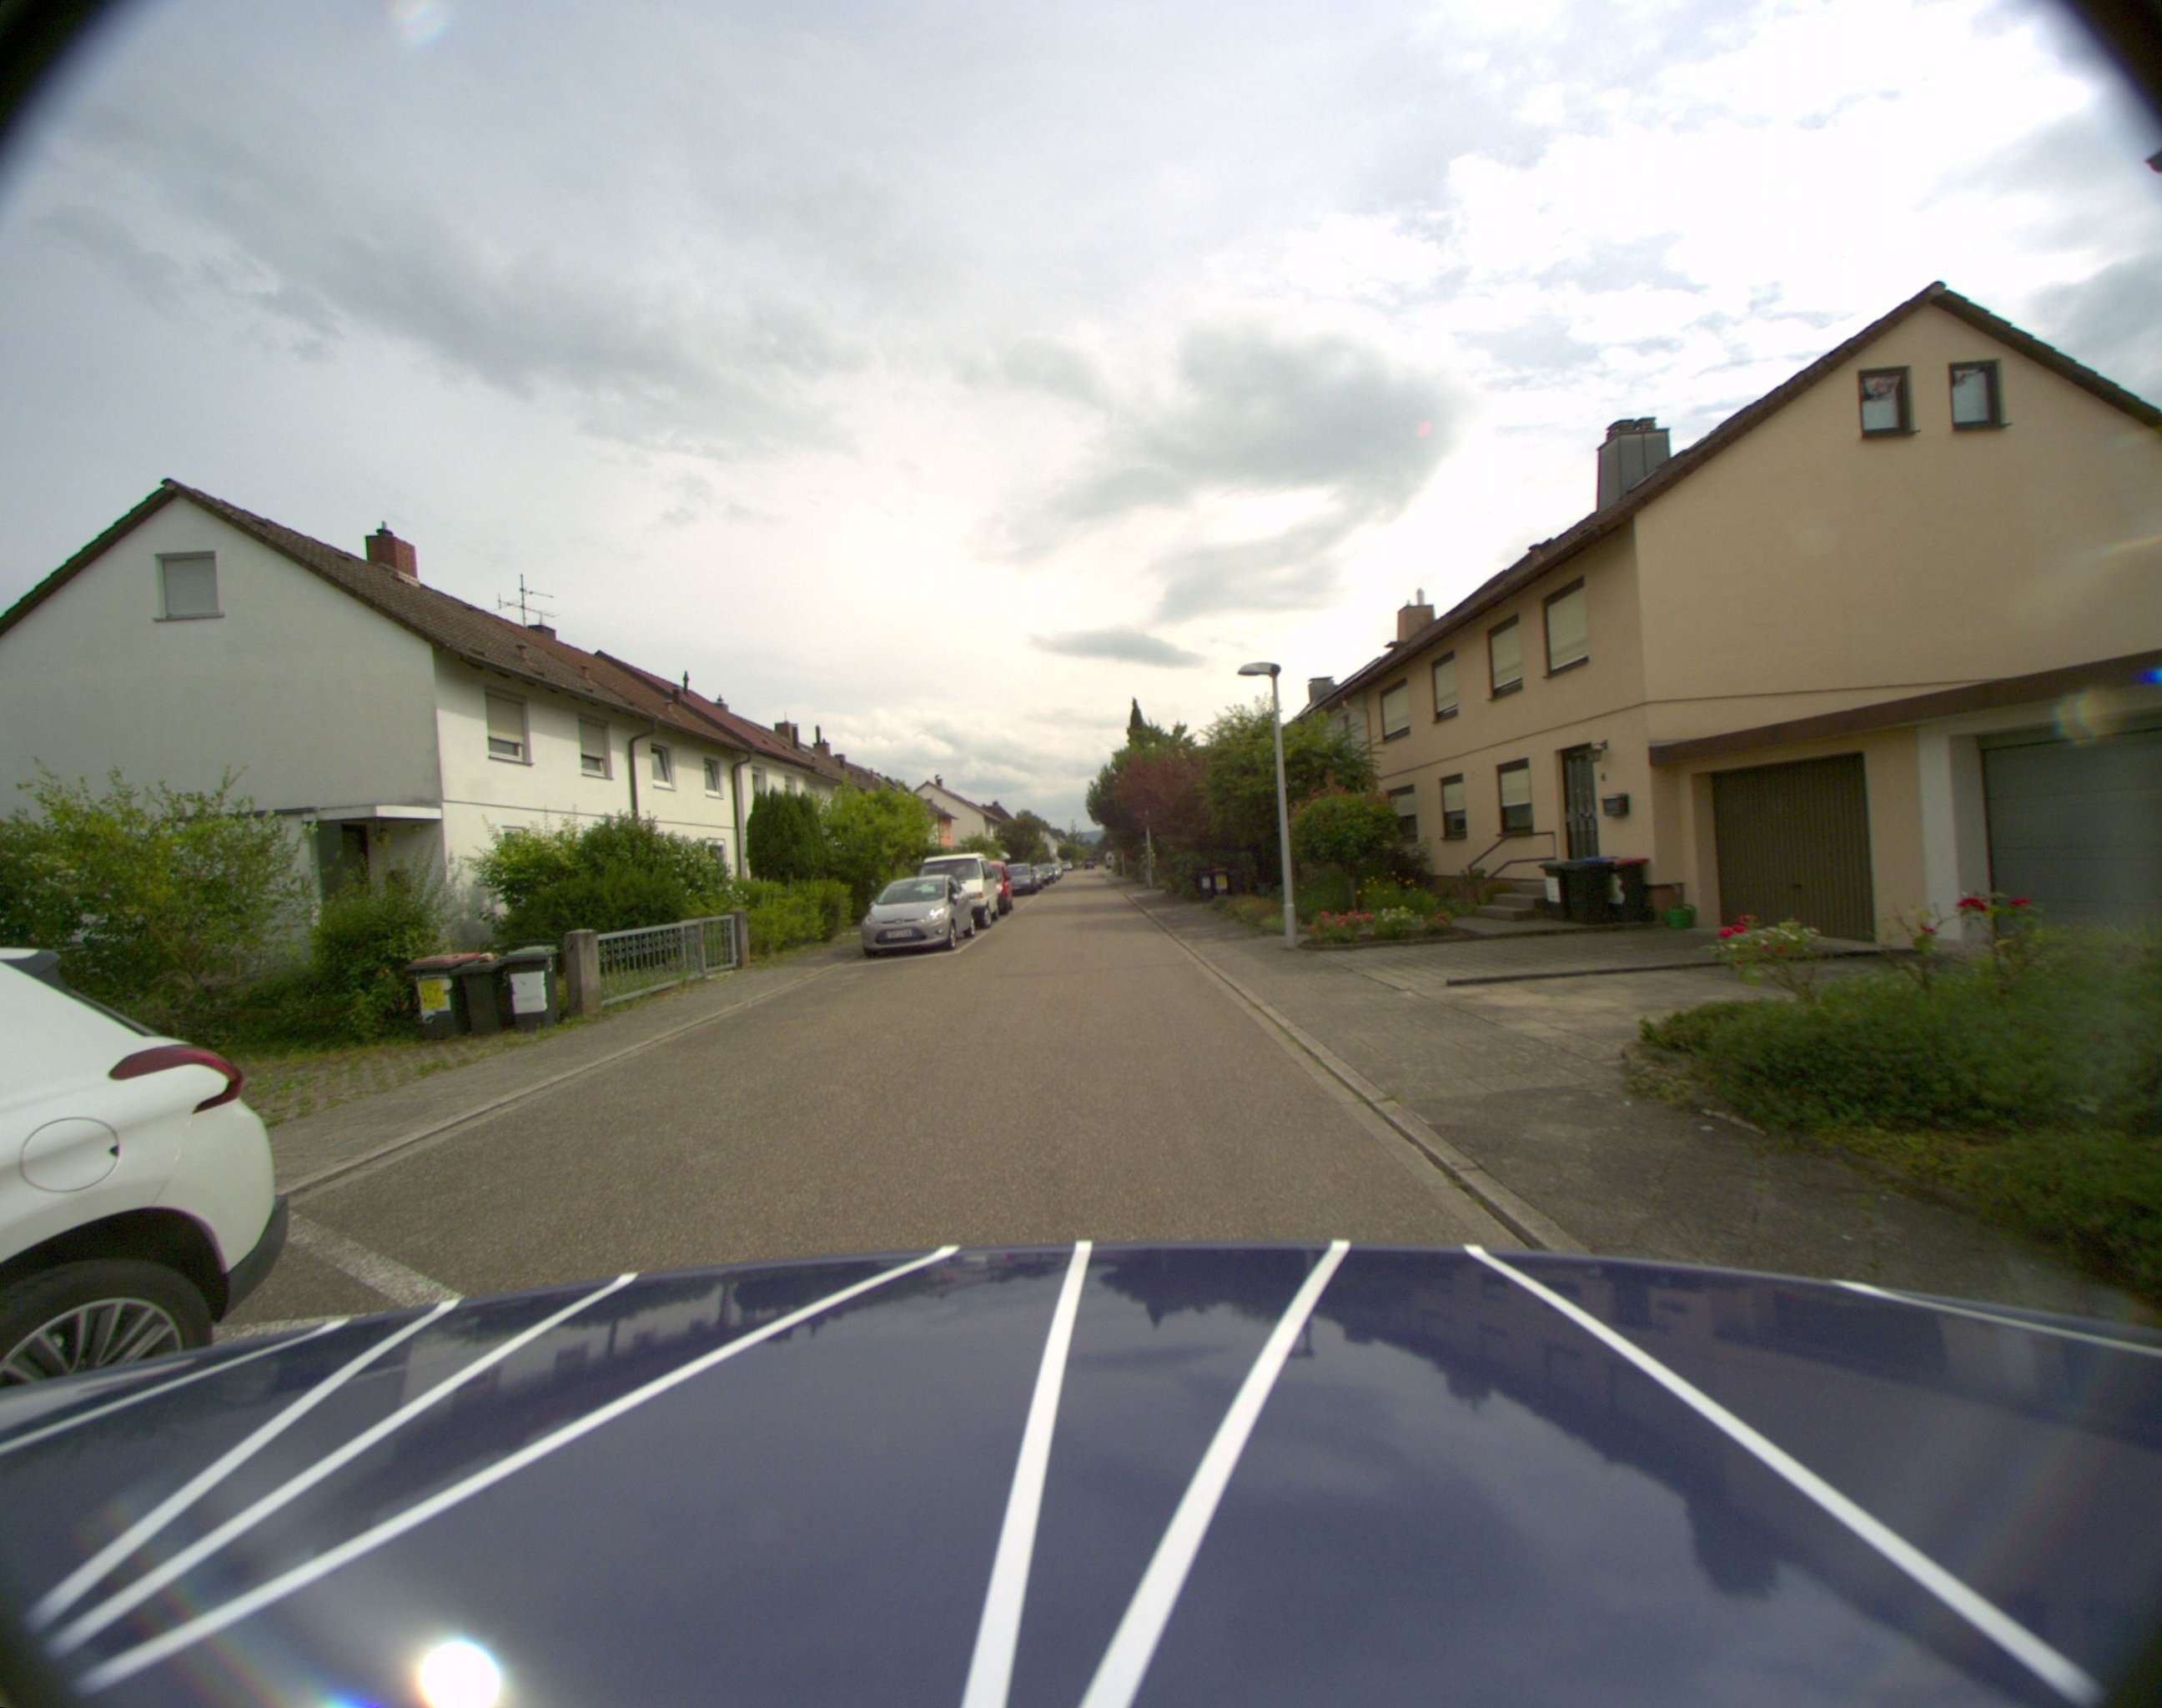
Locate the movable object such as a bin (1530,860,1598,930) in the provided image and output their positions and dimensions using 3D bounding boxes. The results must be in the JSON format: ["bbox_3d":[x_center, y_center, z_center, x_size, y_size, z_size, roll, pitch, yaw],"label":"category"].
[{"bbox_3d":[7.260,0.603,11.442,0.654,0.997,0.542,-2,0,0],"label":"movable object such as a bin"}]

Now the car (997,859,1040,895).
[{"bbox_3d":[-3.209,1.151,39.754,1.872,1.643,4.464,-4,0,-1],"label":"car"}]

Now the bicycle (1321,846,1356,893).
[{"bbox_3d":[8.019,0.464,23.732,0.432,1.387,1.848,-3,0,2],"label":"bicycle"}]

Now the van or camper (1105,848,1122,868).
[{"bbox_3d":[4.907,0.624,114.943,2.346,2.719,5.748,-4,0,1],"label":"van or camper"}]

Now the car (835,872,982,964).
[{"bbox_3d":[-3.313,1.179,15.479,1.905,1.451,4.130,-3,0,1],"label":"car"}]

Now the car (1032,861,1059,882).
[{"bbox_3d":[-2.749,1.341,59.716,1.753,1.458,4.648,-4,0,0],"label":"car"}]

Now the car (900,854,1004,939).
[{"bbox_3d":[-3.332,1.035,20.583,2.026,1.936,4.747,-3,0,-1],"label":"car"}]

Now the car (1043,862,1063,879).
[{"bbox_3d":[-2.661,1.506,72.039,1.708,1.433,4.220,-5,0,-2],"label":"car"}]

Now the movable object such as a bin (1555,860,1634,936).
[{"bbox_3d":[7.311,0.617,10.842,0.654,1.015,0.633,-3,0,0],"label":"movable object such as a bin"}]

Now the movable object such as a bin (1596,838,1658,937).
[{"bbox_3d":[7.851,0.471,10.947,0.411,1.377,0.610,-2,0,0],"label":"movable object such as a bin"}]

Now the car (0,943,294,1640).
[{"bbox_3d":[-3.397,1.108,0.399,1.718,1.534,3.973,-5,0,0],"label":"car"}]

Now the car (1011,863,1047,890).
[{"bbox_3d":[-3.126,1.343,46.195,1.872,1.399,4.767,-5,0,-2],"label":"car"}]

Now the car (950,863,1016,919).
[{"bbox_3d":[-3.202,1.160,25.582,1.815,1.641,4.409,-3,0,-3],"label":"car"}]

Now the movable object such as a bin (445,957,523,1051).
[{"bbox_3d":[-6.600,1.648,8.417,0.432,0.916,0.465,-5,0,-4],"label":"movable object such as a bin"}]

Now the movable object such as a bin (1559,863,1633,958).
[{"bbox_3d":[7.867,0.843,11.630,0.654,1.377,0.633,-2,0,0],"label":"movable object such as a bin"}]

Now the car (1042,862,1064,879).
[{"bbox_3d":[-2.669,1.518,72.170,1.746,1.462,4.218,-3,0,1],"label":"car"}]

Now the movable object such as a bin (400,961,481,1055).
[{"bbox_3d":[-7.058,1.686,8.392,0.432,0.916,0.465,-5,0,-4],"label":"movable object such as a bin"}]

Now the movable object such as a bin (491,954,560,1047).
[{"bbox_3d":[-6.105,1.598,8.369,0.408,0.916,0.421,-3,0,-4],"label":"movable object such as a bin"}]

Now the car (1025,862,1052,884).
[{"bbox_3d":[-2.969,1.336,54.060,1.737,1.419,4.125,-4,0,-2],"label":"car"}]

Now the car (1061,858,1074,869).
[{"bbox_3d":[-2.227,1.525,124.855,1.999,1.589,3.999,-4,0,-3],"label":"car"}]

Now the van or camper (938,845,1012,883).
[{"bbox_3d":[-8.872,0.831,64.311,5.814,2.801,2.536,-3,0,-2],"label":"van or camper"}]
